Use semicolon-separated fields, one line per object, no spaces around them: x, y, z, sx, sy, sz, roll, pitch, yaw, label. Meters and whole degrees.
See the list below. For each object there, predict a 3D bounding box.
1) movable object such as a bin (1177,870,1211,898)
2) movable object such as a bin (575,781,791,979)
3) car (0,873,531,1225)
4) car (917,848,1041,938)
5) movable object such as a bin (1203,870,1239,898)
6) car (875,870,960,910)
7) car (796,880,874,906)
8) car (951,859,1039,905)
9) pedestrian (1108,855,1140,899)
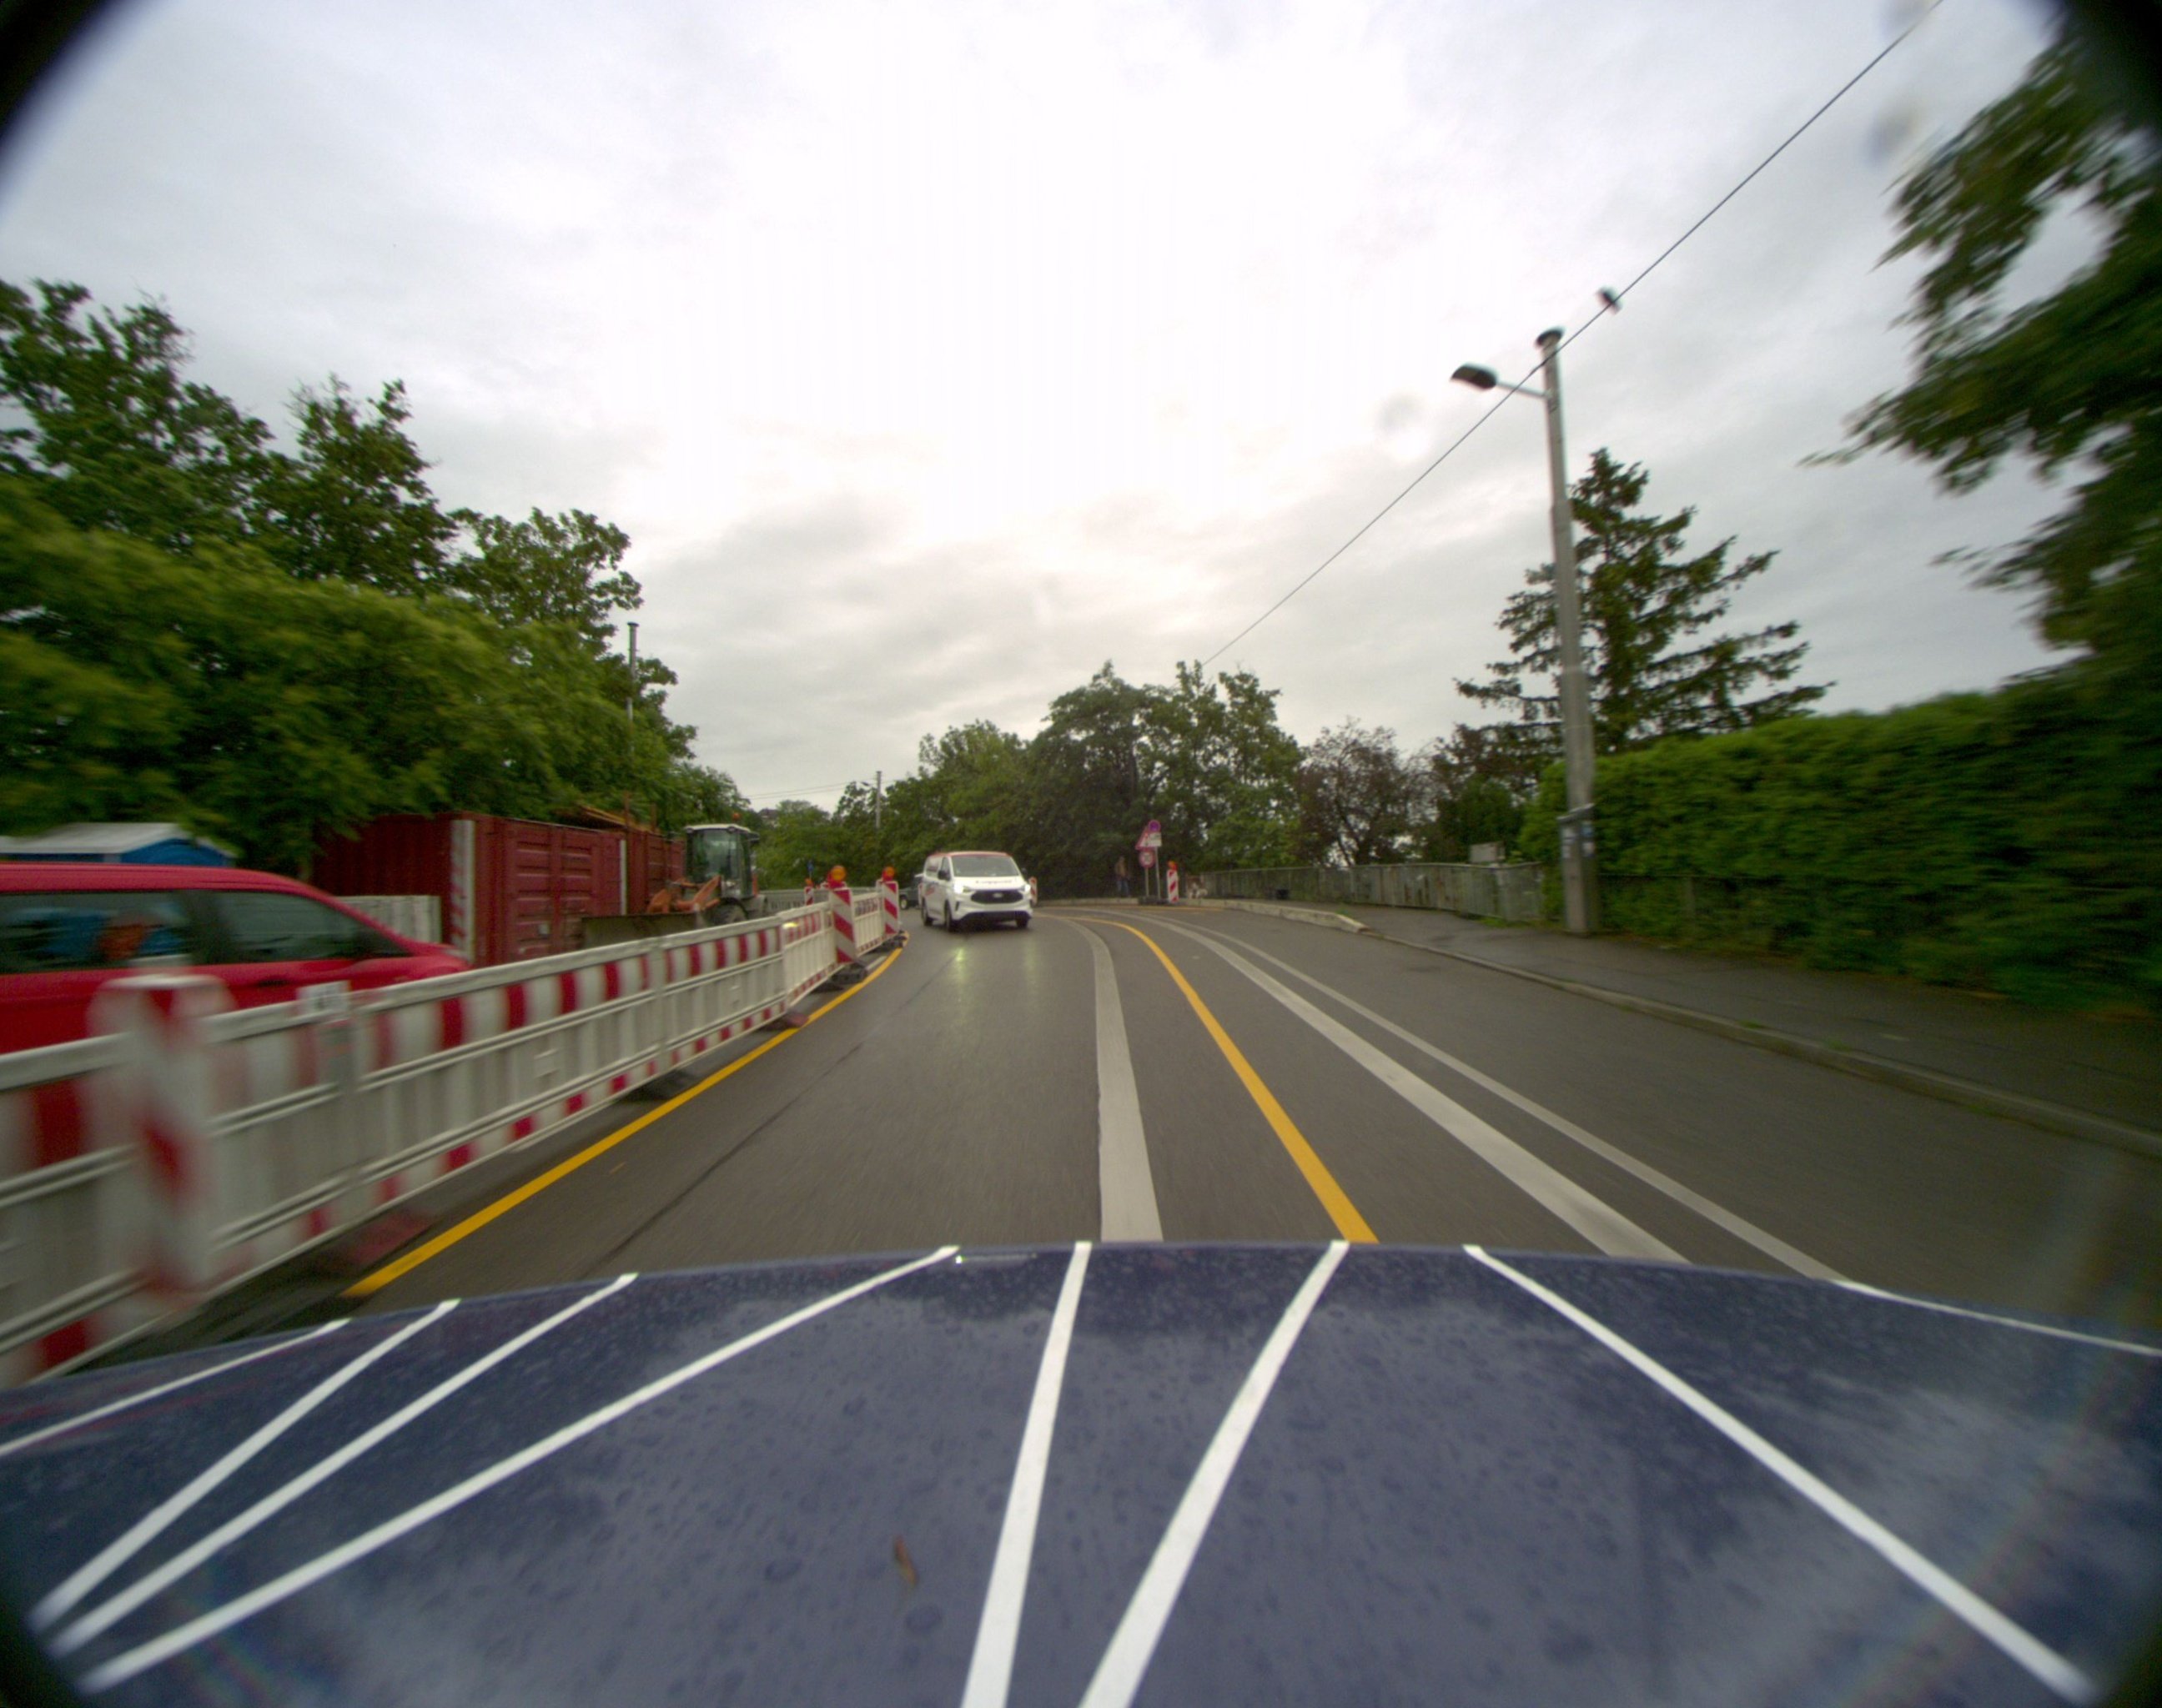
4.549;1.195;30.571;0.990;1.099;1.026;0;-2;-19;movable object such as a bin
-7.626;0.690;15.282;2.082;3.204;5.286;-3;-6;-7;movable object such as a bin
-6.617;1.090;5.162;1.998;1.769;4.998;-2;0;1;car
-2.813;0.913;19.808;2.002;2.002;4.940;-2;0;-22;car
5.640;1.212;30.635;0.990;1.099;1.026;0;-4;-19;movable object such as a bin
-9.048;1.979;41.852;4.801;2.001;1.876;-4;-3;38;car
-14.838;2.350;45.749;4.312;1.430;1.971;-3;-4;27;car
-4.240;1.392;36.770;2.004;2.001;4.938;-1;-2;-36;car
1.760;0.926;31.191;0.927;1.757;0.978;-1;-1;-28;pedestrian
